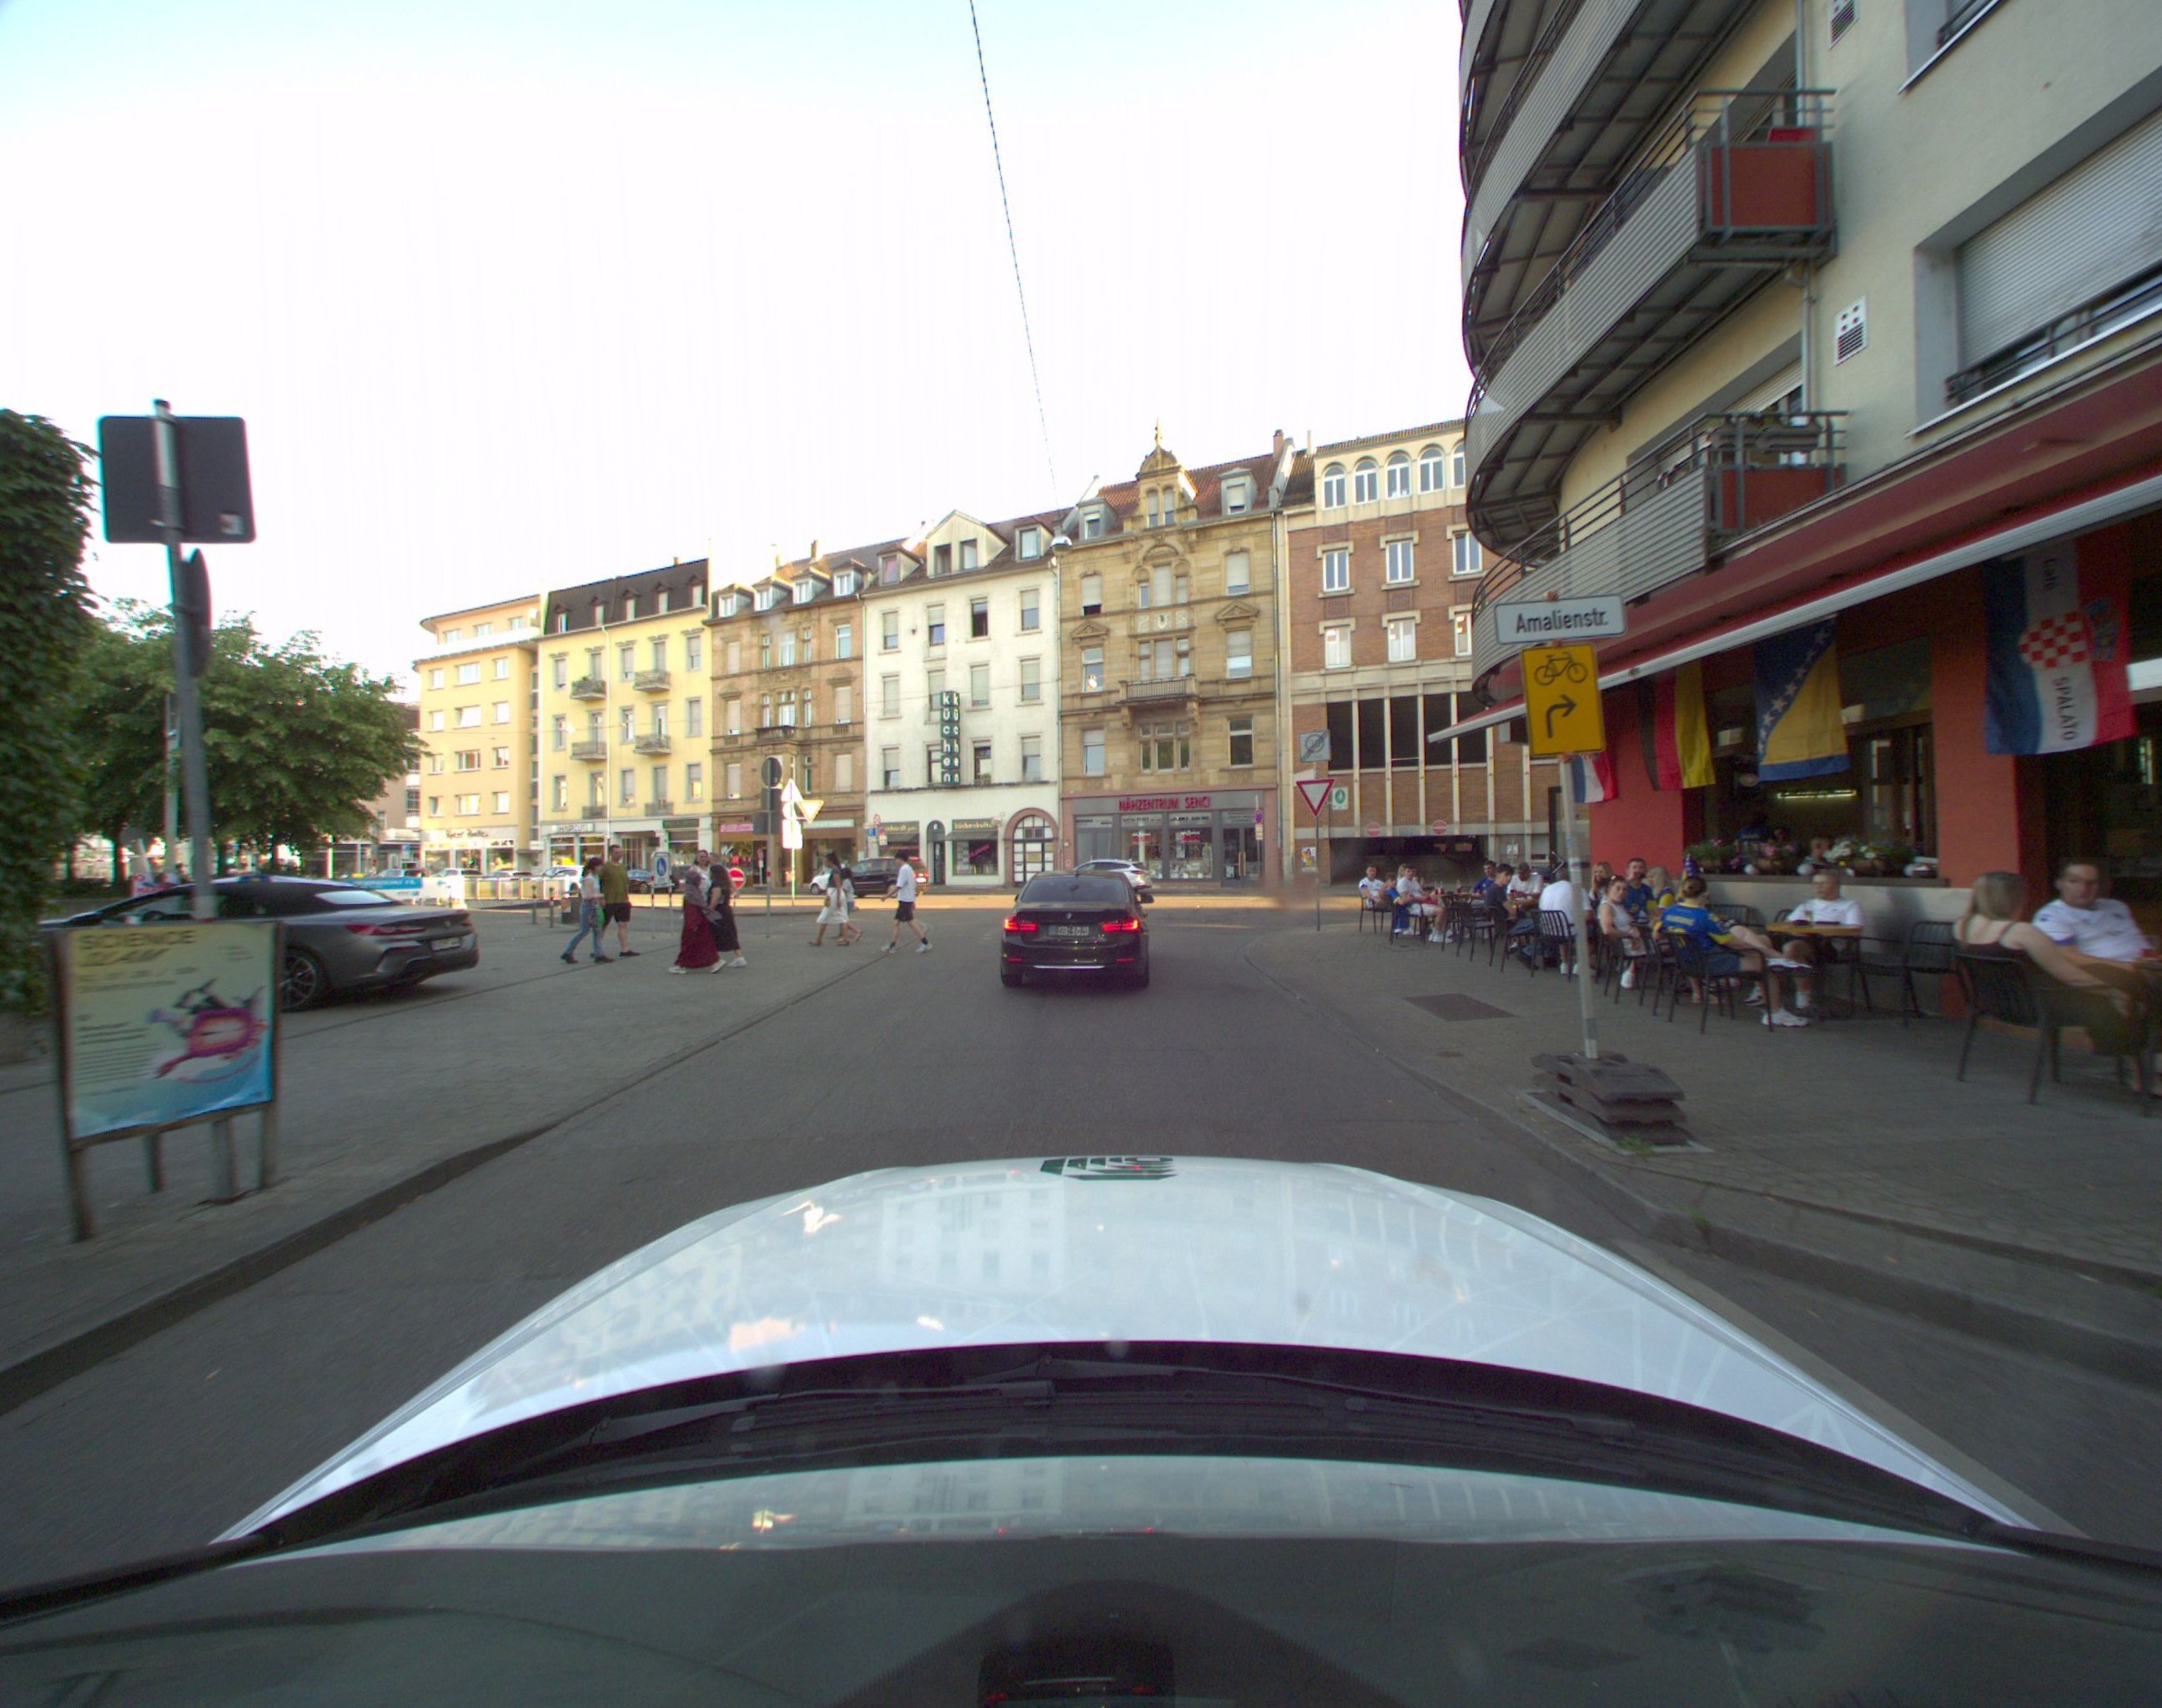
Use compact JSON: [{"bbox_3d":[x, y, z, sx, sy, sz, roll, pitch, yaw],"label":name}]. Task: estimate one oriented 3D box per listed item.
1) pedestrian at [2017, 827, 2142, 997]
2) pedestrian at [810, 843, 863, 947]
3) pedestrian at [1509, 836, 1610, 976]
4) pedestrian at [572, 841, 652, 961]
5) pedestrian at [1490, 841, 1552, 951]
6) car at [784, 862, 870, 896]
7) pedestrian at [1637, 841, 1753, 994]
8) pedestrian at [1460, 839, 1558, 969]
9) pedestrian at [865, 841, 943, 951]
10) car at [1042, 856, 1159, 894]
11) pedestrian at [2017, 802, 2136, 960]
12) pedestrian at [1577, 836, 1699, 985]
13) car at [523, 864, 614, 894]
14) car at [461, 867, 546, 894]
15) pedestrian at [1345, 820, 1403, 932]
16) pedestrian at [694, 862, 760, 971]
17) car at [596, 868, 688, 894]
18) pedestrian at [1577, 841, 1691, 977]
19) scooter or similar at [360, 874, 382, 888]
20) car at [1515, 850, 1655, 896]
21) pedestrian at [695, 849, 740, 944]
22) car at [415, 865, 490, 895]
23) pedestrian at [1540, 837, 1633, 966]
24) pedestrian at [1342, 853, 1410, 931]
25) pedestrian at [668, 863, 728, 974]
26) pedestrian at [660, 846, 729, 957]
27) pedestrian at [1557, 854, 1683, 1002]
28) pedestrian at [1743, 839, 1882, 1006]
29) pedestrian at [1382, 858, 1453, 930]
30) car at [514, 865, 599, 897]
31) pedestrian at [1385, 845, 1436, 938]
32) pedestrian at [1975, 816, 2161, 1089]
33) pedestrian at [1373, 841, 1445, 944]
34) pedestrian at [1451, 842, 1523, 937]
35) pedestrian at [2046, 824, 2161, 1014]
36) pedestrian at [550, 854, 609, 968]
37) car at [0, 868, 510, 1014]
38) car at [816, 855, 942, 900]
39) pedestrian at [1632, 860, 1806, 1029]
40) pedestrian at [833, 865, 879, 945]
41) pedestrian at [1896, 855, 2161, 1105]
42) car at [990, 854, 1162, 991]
[{"bbox_3d":[10.852,0.604,8.869,0.610,1.777,0.616,0,-1,-9],"label":"pedestrian"},{"bbox_3d":[-4.555,0.743,15.164,0.783,1.875,0.708,1,-1,-30],"label":"pedestrian"},{"bbox_3d":[5.572,0.581,9.516,0.647,1.527,0.699,-4,0,-5],"label":"pedestrian"},{"bbox_3d":[-7.616,0.736,13.256,0.707,1.877,0.855,0,-1,12],"label":"pedestrian"},{"bbox_3d":[6.408,0.591,11.853,0.743,1.536,0.652,0,-1,32],"label":"pedestrian"},{"bbox_3d":[-12.750,1.236,40.921,3.951,1.585,1.715,0,0,23],"label":"car"},{"bbox_3d":[6.069,0.604,8.076,0.664,1.434,0.560,-2,0,-4],"label":"pedestrian"},{"bbox_3d":[5.382,0.606,10.279,0.711,1.536,0.758,-4,0,-5],"label":"pedestrian"},{"bbox_3d":[-3.113,0.710,14.366,0.878,1.853,0.991,0,-1,39],"label":"pedestrian"},{"bbox_3d":[0.844,0.866,35.286,4.626,1.535,2.010,0,0,22],"label":"car"},{"bbox_3d":[11.601,0.306,9.508,0.609,1.777,0.617,0,-1,-3],"label":"pedestrian"},{"bbox_3d":[5.947,0.584,8.728,0.848,1.536,0.679,1,-1,-4],"label":"pedestrian"},{"bbox_3d":[-27.191,1.295,43.248,4.187,1.518,1.824,0,-1,19],"label":"car"},{"bbox_3d":[-35.601,1.627,50.227,4.810,1.543,2.033,0,0,24],"label":"car"},{"bbox_3d":[5.391,0.398,15.049,0.902,2.014,0.858,-1,-1,13],"label":"pedestrian"},{"bbox_3d":[-5.392,0.917,12.395,0.802,1.582,0.723,1,-1,-33],"label":"pedestrian"},{"bbox_3d":[-24.861,1.515,46.072,4.791,1.434,2.011,-1,-1,23],"label":"car"},{"bbox_3d":[6.434,0.613,9.510,0.765,1.504,0.782,-1,-1,-3],"label":"pedestrian"},{"bbox_3d":[-61.223,2.300,70.195,0.517,1.164,1.329,-2,-2,30],"label":"scooter or similar"},{"bbox_3d":[17.639,0.641,28.734,3.951,1.520,2.011,0,0,23],"label":"car"},{"bbox_3d":[-6.935,0.791,15.540,0.689,1.746,0.709,1,-1,-30],"label":"pedestrian"},{"bbox_3d":[-40.576,1.651,52.602,4.355,1.762,1.884,0,-1,23],"label":"car"},{"bbox_3d":[6.315,0.578,10.204,0.672,1.536,0.654,-3,0,-3],"label":"pedestrian"},{"bbox_3d":[5.429,0.686,15.010,0.772,1.382,0.832,-1,-2,-27],"label":"pedestrian"},{"bbox_3d":[-5.536,0.900,11.776,0.683,1.542,0.586,1,-1,-35],"label":"pedestrian"},{"bbox_3d":[-6.559,0.783,13.835,0.887,1.803,0.706,1,-1,-41],"label":"pedestrian"},{"bbox_3d":[5.243,0.686,7.965,0.652,1.345,0.748,-3,0,-3],"label":"pedestrian"},{"bbox_3d":[6.501,0.587,7.266,0.710,1.421,0.602,1,-1,-2],"label":"pedestrian"},{"bbox_3d":[6.225,0.732,15.107,0.687,1.282,0.959,0,-3,-26],"label":"pedestrian"},{"bbox_3d":[-30.907,1.556,47.999,4.603,1.745,1.898,0,-1,23],"label":"car"},{"bbox_3d":[5.584,0.629,13.852,0.707,1.536,0.692,-2,-1,16],"label":"pedestrian"},{"bbox_3d":[6.283,0.559,5.082,0.854,1.536,0.709,1,-1,-23],"label":"pedestrian"},{"bbox_3d":[5.264,0.603,13.121,0.710,1.536,0.853,-5,-1,1],"label":"pedestrian"},{"bbox_3d":[6.810,0.574,13.671,0.717,1.536,0.844,1,-1,-35],"label":"pedestrian"},{"bbox_3d":[10.084,0.606,7.949,0.610,1.777,0.616,0,-1,-9],"label":"pedestrian"},{"bbox_3d":[-7.684,0.844,12.507,0.716,1.669,0.874,1,-1,-30],"label":"pedestrian"},{"bbox_3d":[-9.637,0.910,9.419,4.431,1.431,2.101,1,0,-7],"label":"car"},{"bbox_3d":[-8.211,0.907,33.194,4.565,1.652,2.108,0,1,18],"label":"car"},{"bbox_3d":[5.312,0.719,6.853,0.868,1.306,0.857,-2,-1,19],"label":"pedestrian"},{"bbox_3d":[-4.351,0.962,15.714,0.718,1.486,0.598,1,-1,-30],"label":"pedestrian"},{"bbox_3d":[5.480,0.672,4.734,0.854,1.278,0.709,-1,-3,-23],"label":"pedestrian"},{"bbox_3d":[0.000,0.796,11.056,1.881,1.492,4.205,-1,-1,1],"label":"car"}]
